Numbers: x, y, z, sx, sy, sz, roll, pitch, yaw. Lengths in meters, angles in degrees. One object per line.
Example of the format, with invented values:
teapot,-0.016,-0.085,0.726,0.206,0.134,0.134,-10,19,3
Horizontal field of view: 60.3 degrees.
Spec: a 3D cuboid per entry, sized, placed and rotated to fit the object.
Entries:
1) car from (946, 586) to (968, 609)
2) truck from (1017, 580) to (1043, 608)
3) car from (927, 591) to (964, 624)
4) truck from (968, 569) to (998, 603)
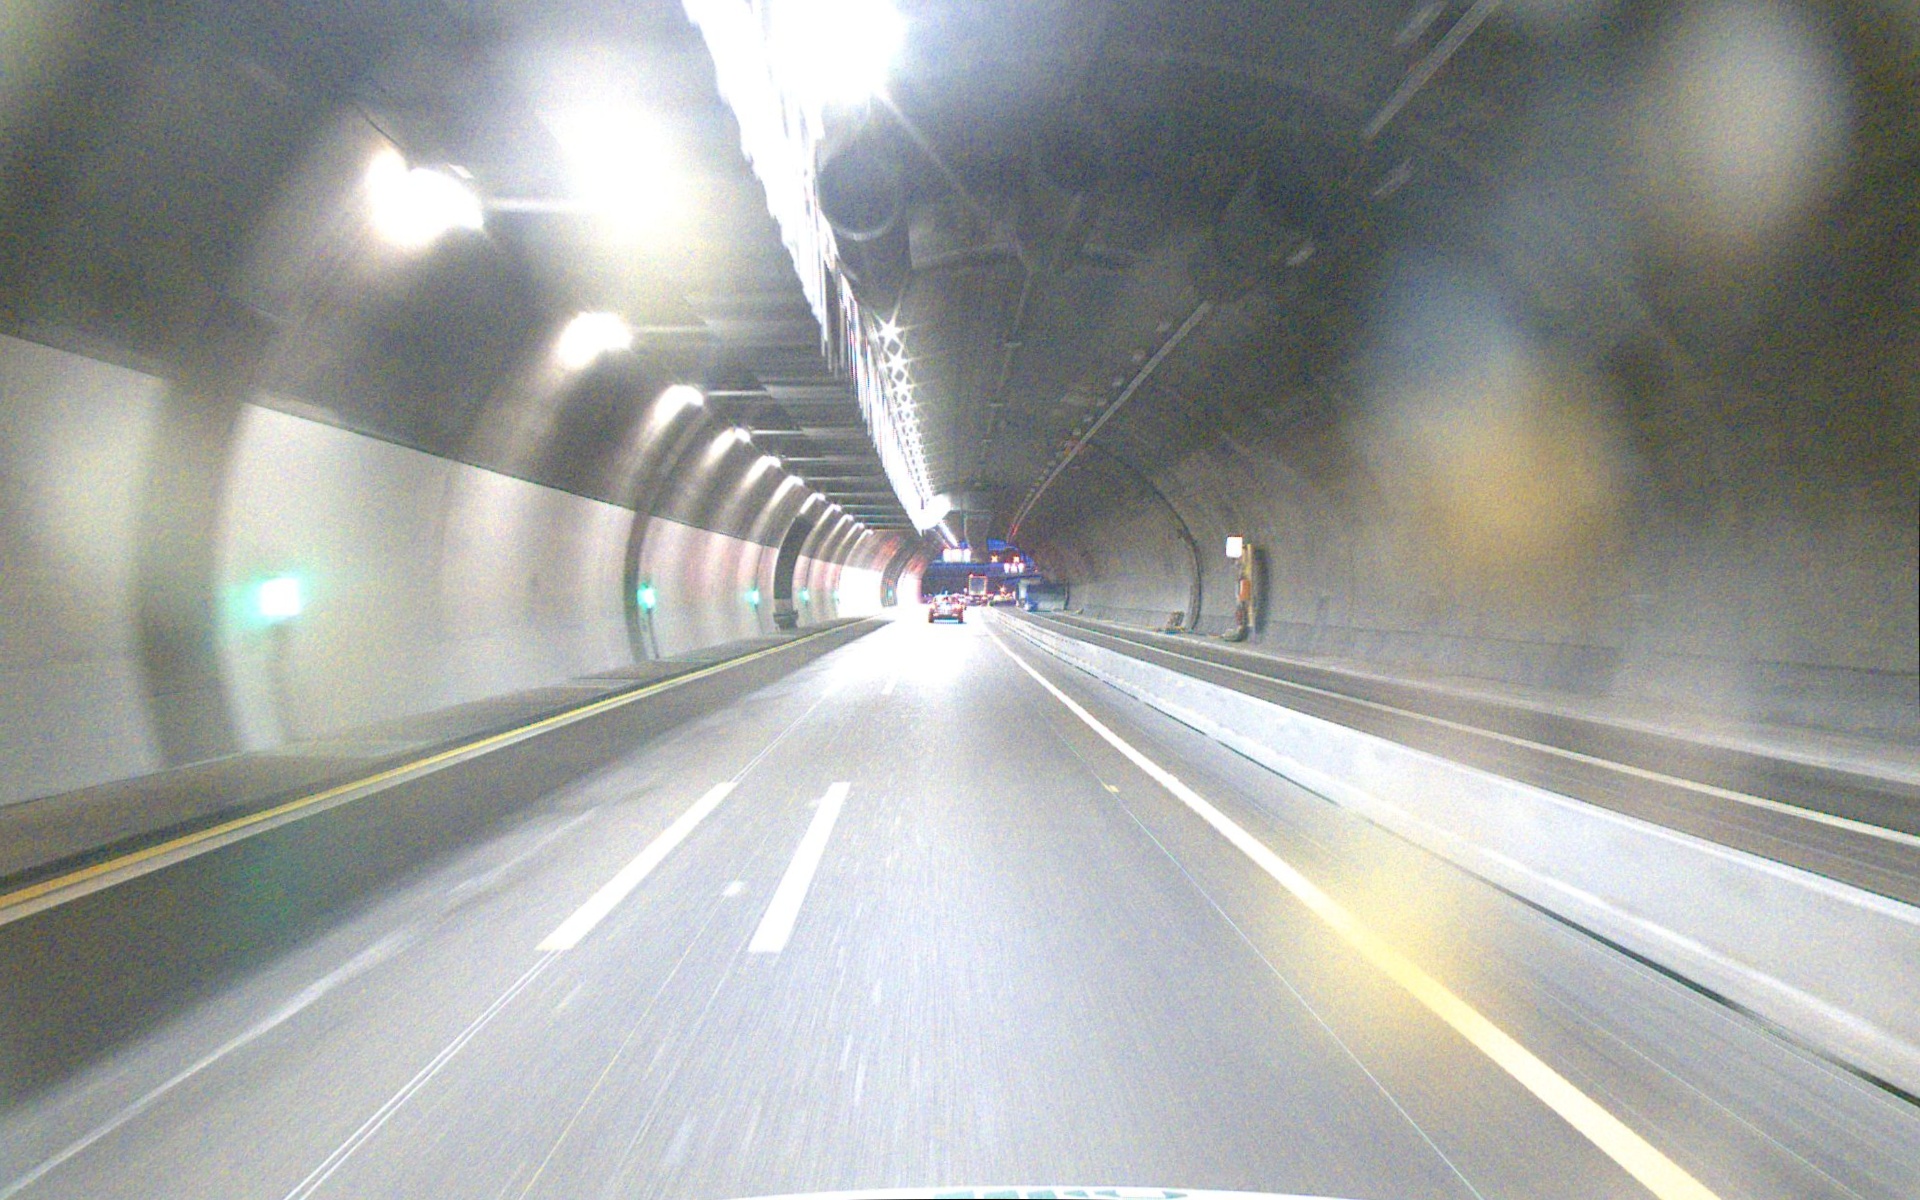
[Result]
car,-0.259,-0.238,153.424,1.953,2.049,3.999,1,0,-1
truck,8.440,-0.716,200.022,2.832,3.329,8.402,1,0,1
car,-0.773,0.393,87.236,1.850,1.635,3.998,1,0,-2
truck,3.538,-2.191,256.220,4.452,5.074,9.599,1,0,1
